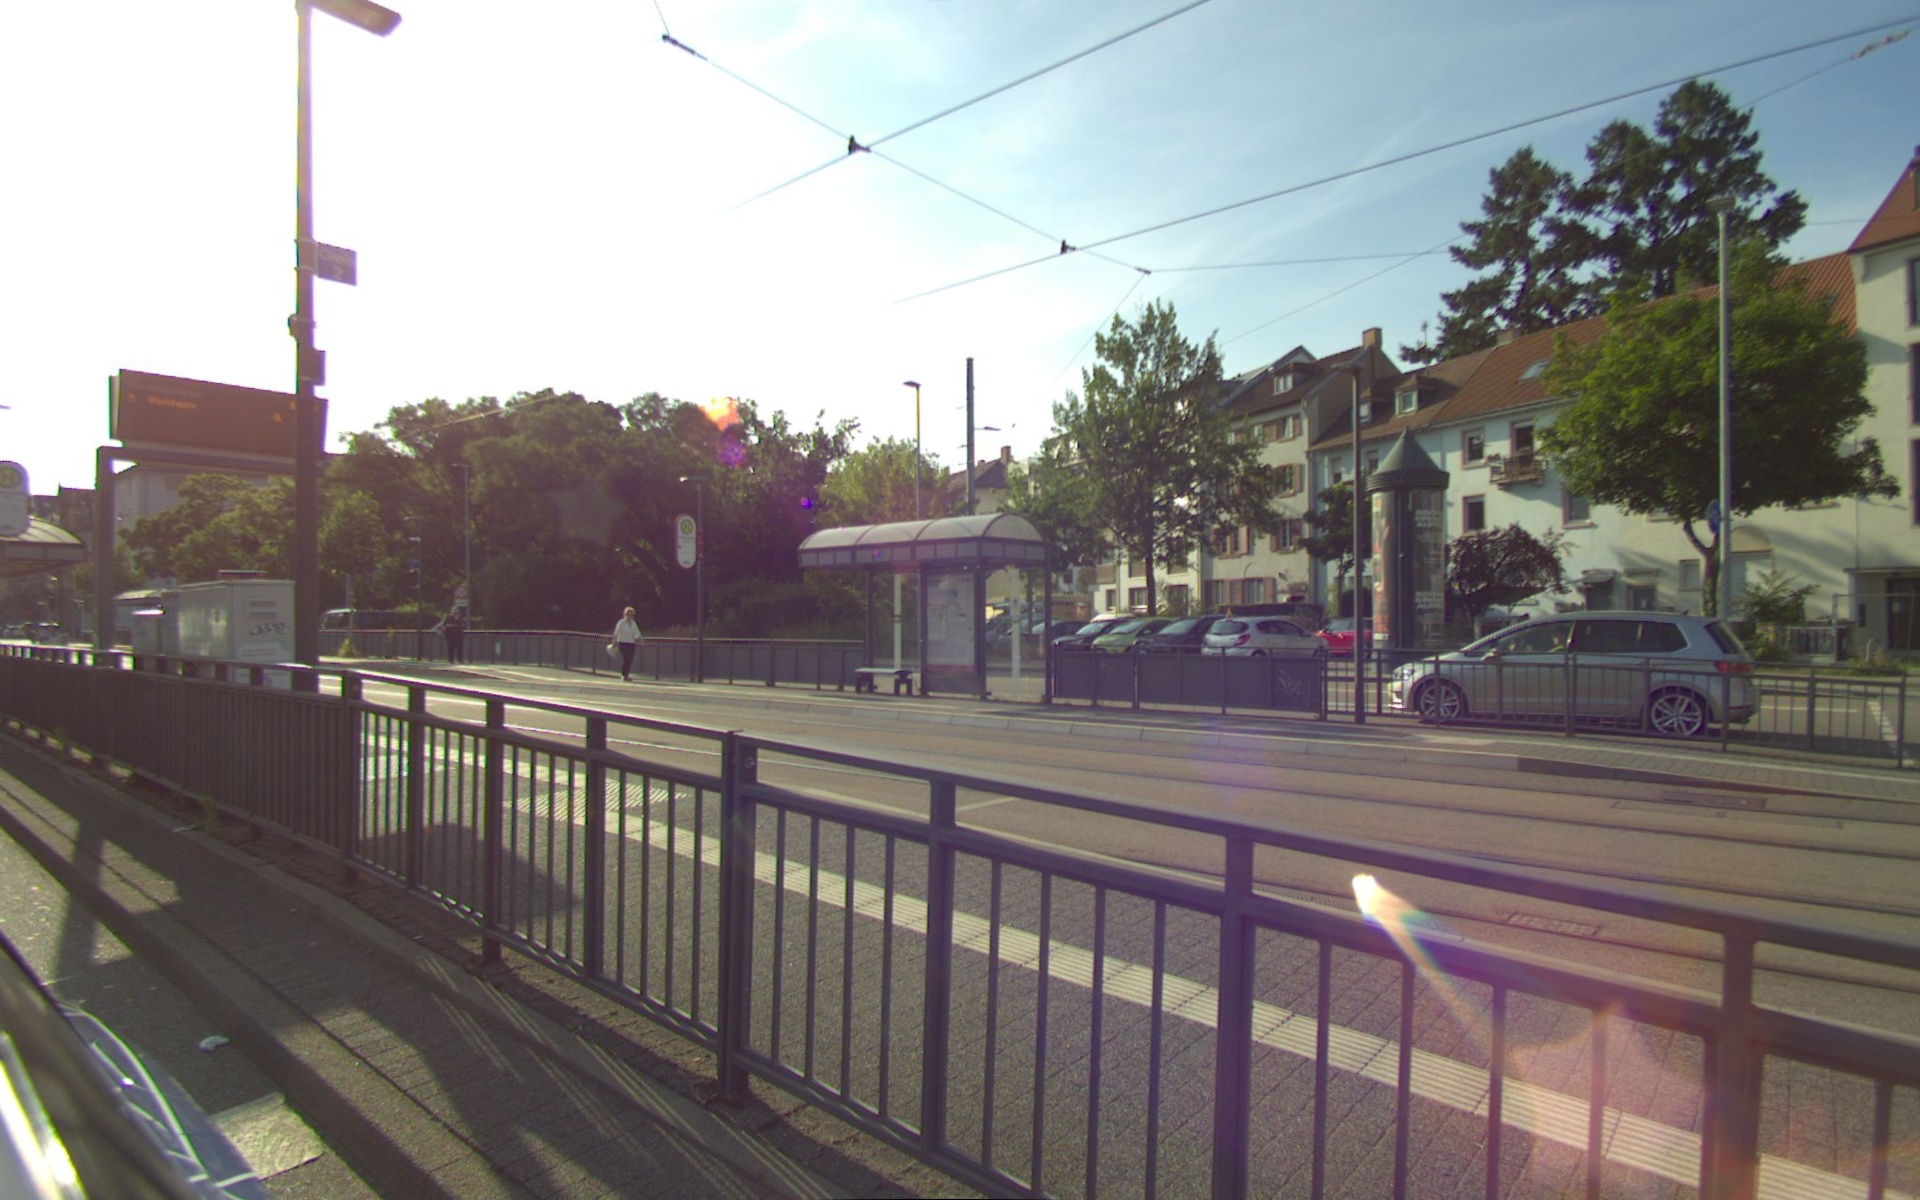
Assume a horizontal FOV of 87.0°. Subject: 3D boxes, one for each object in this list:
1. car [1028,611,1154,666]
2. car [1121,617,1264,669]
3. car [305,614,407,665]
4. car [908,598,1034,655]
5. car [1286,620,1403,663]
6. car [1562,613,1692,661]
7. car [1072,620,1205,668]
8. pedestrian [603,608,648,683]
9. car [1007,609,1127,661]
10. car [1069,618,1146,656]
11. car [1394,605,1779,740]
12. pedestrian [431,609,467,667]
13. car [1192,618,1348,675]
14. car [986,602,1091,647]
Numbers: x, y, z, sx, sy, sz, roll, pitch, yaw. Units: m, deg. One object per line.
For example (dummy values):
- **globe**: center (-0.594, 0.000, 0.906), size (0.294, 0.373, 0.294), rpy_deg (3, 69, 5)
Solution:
- **car**: center (4.454, 1.283, 34.293), size (3.932, 1.767, 1.860), rpy_deg (1, -2, -31)
- **car**: center (6.877, 1.235, 29.869), size (3.931, 1.439, 1.778), rpy_deg (0, -2, -29)
- **car**: center (-25.432, 1.636, 42.527), size (5.384, 2.029, 2.123), rpy_deg (-2, -2, 41)
- **car**: center (0.616, 1.362, 52.840), size (6.488, 2.830, 1.778), rpy_deg (0, -1, -29)
- **car**: center (13.607, 1.434, 36.006), size (1.523, 1.437, 3.877), rpy_deg (0, -2, -26)
- **car**: center (22.821, 1.250, 34.656), size (3.930, 1.570, 1.862), rpy_deg (0, -2, -24)
- **car**: center (5.733, 1.365, 32.396), size (3.931, 1.439, 1.778), rpy_deg (0, -2, -29)
- **pedestrian**: center (-7.482, 1.017, 22.643), size (0.727, 1.640, 0.699), rpy_deg (-2, -2, 40)
- **car**: center (3.816, 1.226, 35.970), size (3.932, 1.767, 1.860), rpy_deg (1, -2, -31)
- **car**: center (7.293, 1.835, 50.344), size (1.786, 1.814, 4.013), rpy_deg (1, -2, -27)
- **car**: center (8.194, 0.919, 13.457), size (4.121, 1.537, 1.659), rpy_deg (-3, -3, 40)
- **pedestrian**: center (-14.860, 1.094, 29.428), size (0.689, 1.640, 0.727), rpy_deg (-2, -2, 40)
- **car**: center (8.381, 1.214, 27.317), size (3.931, 1.439, 1.778), rpy_deg (0, -2, -29)
- **car**: center (3.227, 1.012, 41.479), size (3.932, 1.767, 1.860), rpy_deg (1, -2, -31)
